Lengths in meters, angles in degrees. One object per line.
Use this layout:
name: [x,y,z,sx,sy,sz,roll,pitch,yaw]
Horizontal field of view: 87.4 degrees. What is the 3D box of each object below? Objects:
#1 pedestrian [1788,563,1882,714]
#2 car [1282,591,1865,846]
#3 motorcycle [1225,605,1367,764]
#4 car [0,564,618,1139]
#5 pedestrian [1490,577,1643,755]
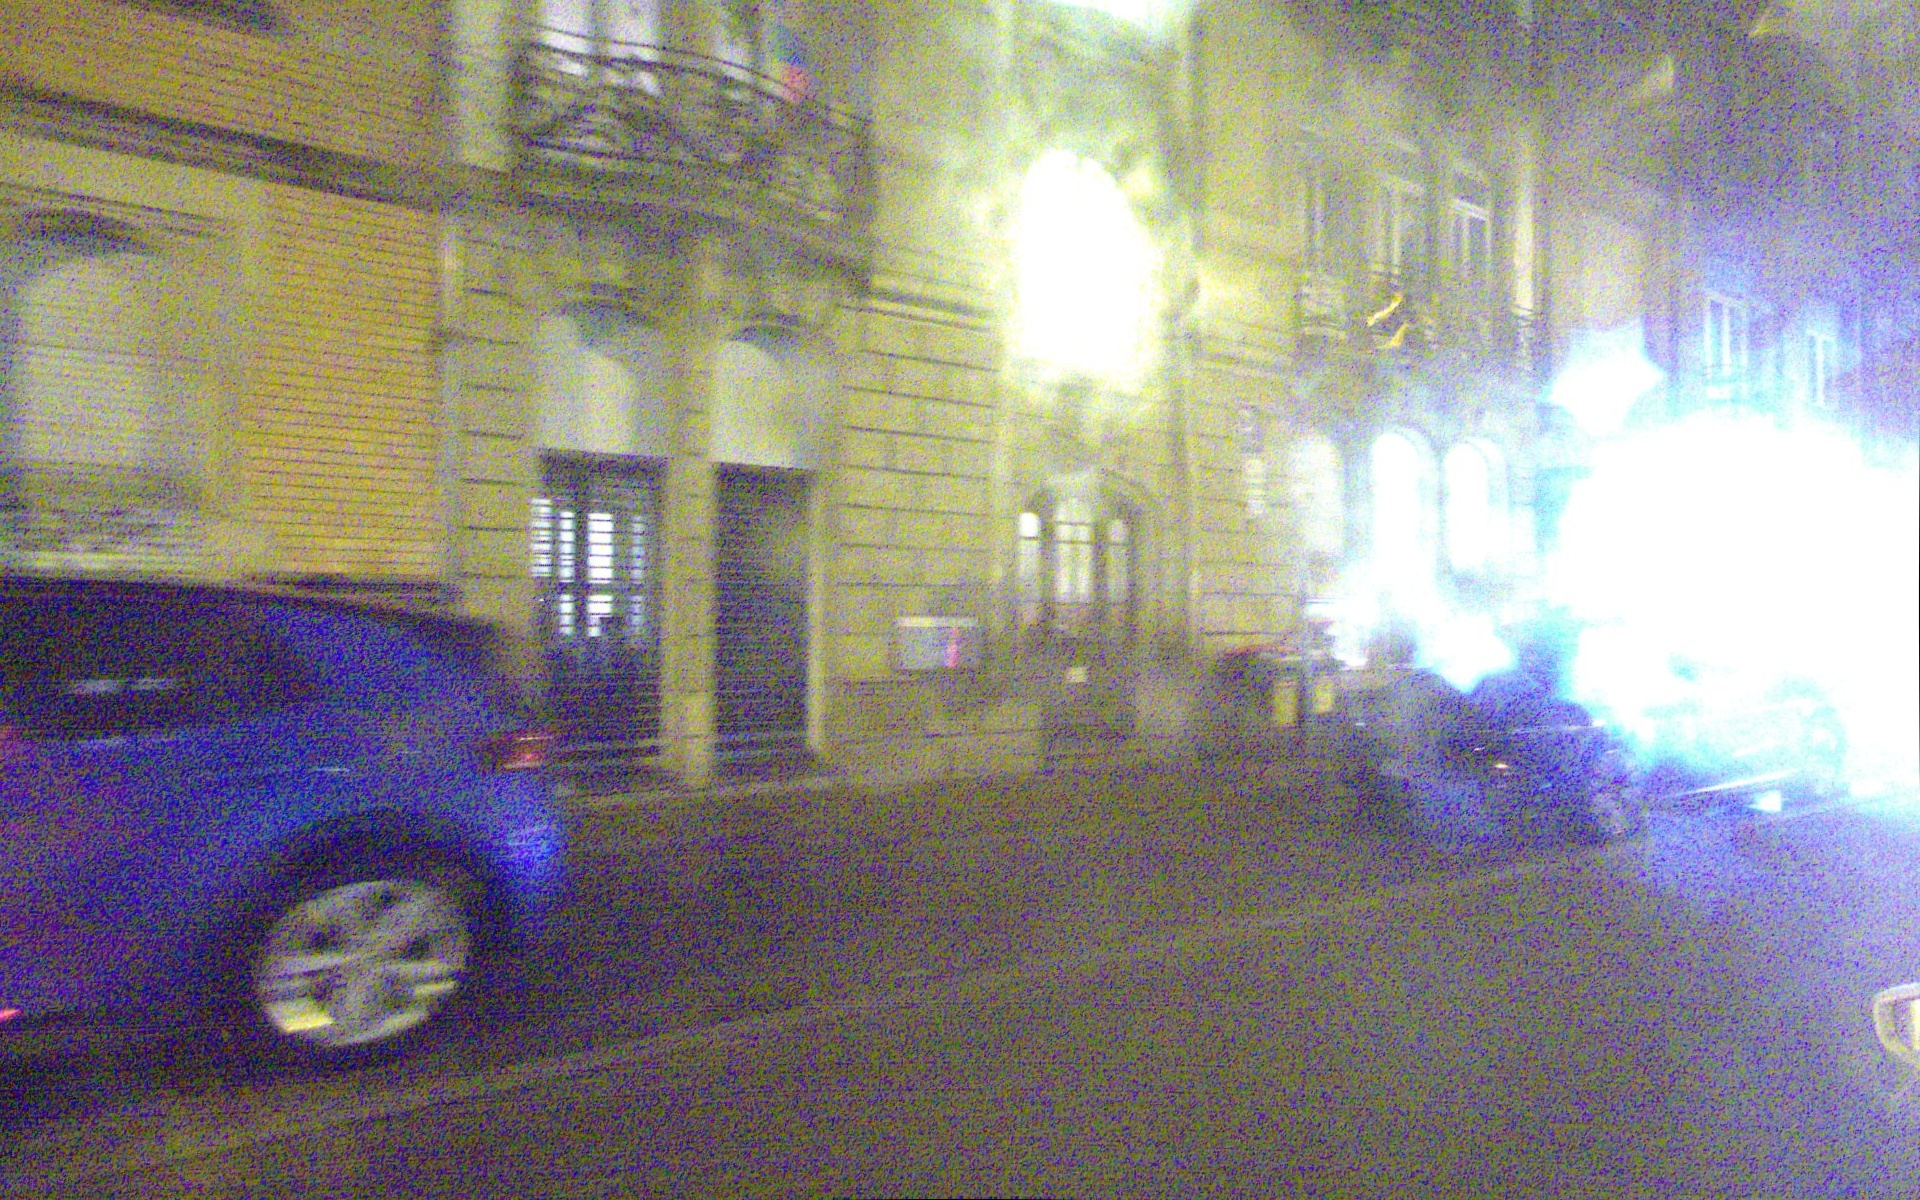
pedestrian: [13.714,0.599,15.742,1.104,2.270,0.795,1,-1,-31]
car: [5.003,0.746,7.977,4.971,1.498,1.838,1,-1,-30]
motorcycle: [3.376,0.810,10.073,1.441,1.490,0.534,1,0,-31]
car: [-3.367,0.658,3.069,4.116,1.498,1.706,1,-1,-34]
pedestrian: [6.917,0.721,11.458,1.399,1.888,0.950,1,-1,-31]
